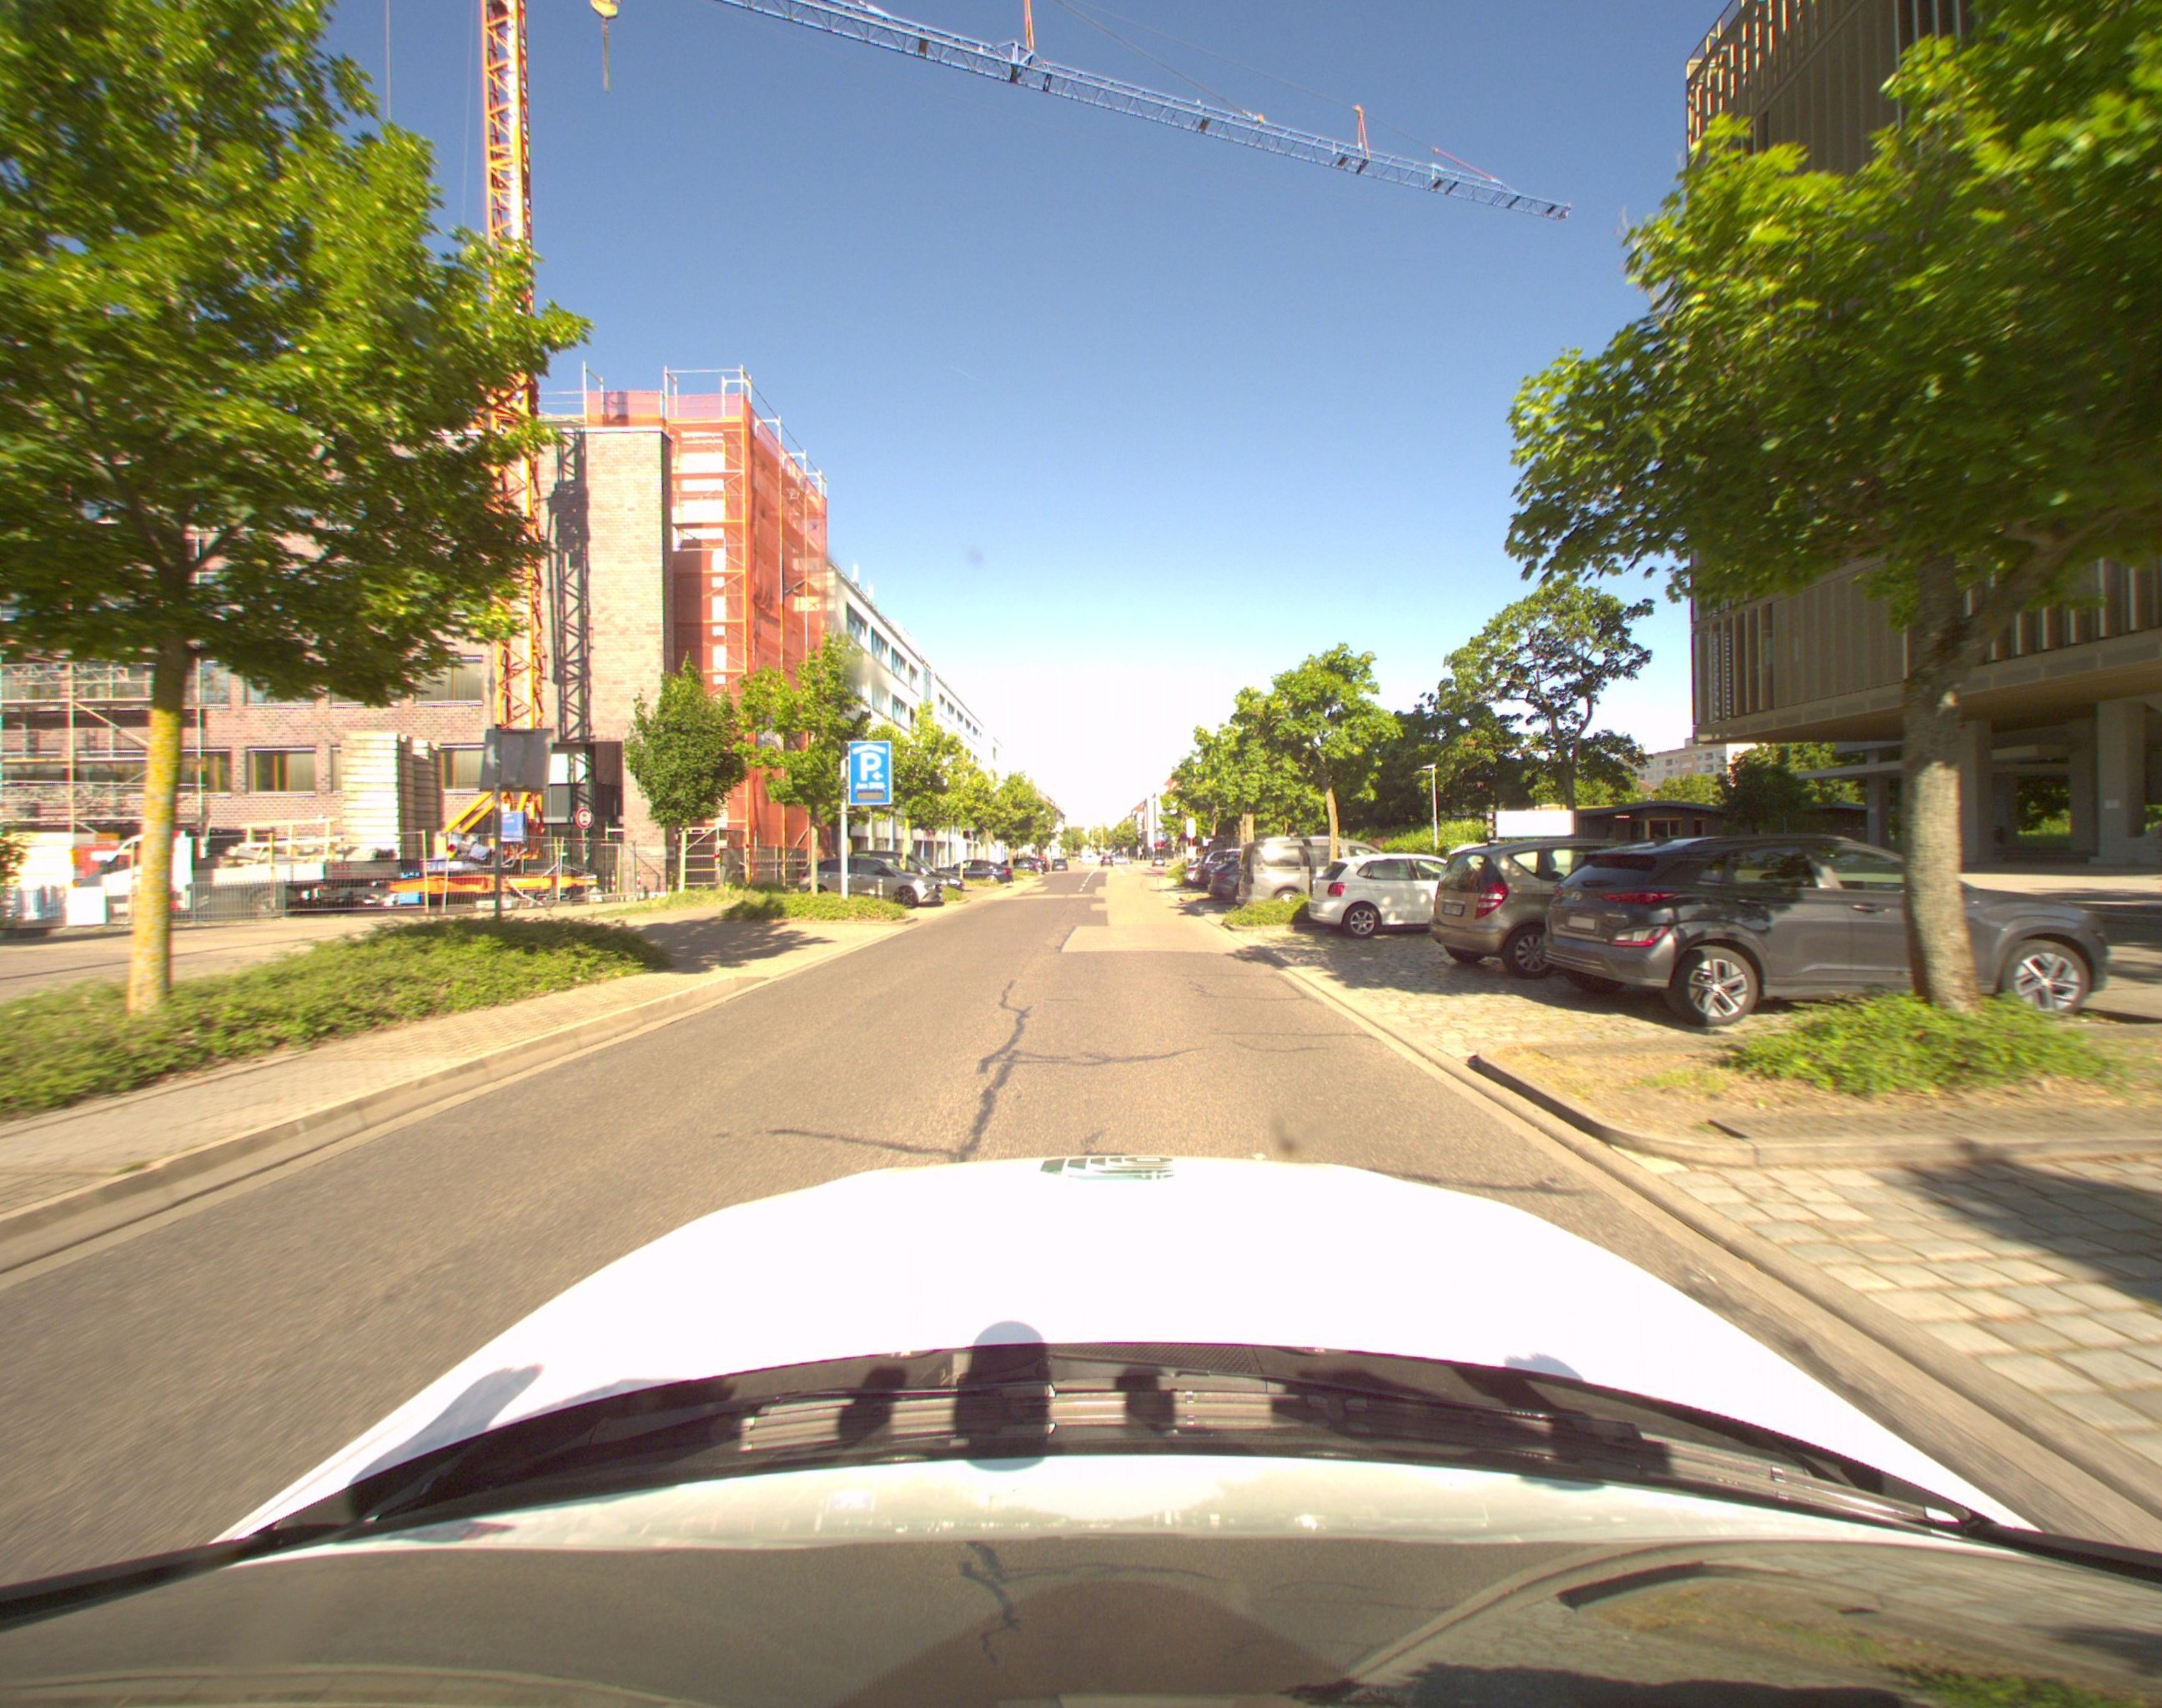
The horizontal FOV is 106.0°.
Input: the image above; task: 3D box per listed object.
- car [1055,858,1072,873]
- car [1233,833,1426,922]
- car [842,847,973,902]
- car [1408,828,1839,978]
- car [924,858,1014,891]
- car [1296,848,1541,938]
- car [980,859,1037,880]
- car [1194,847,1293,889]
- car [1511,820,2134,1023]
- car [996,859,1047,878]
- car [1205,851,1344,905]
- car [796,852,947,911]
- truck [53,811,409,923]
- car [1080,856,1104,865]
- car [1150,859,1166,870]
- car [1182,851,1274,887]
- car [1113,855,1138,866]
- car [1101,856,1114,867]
[{"bbox_3d":[-1.975,1.297,92.523,1.805,1.474,4.111,-1,1,1],"label":"car"},{"bbox_3d":[5.681,0.517,18.970,3.972,1.879,1.683,-1,1,2],"label":"car"},{"bbox_3d":[-6.346,0.719,30.080,4.313,1.861,1.819,-1,1,3],"label":"car"},{"bbox_3d":[6.455,0.557,10.118,3.972,1.582,2.032,-1,-1,2],"label":"car"},{"bbox_3d":[-5.629,1.026,41.378,4.320,1.474,1.816,-1,1,-2],"label":"car"},{"bbox_3d":[6.078,0.681,14.997,3.752,1.459,1.818,-1,0,1],"label":"car"},{"bbox_3d":[-5.767,1.250,65.343,4.316,1.474,1.818,-1,1,1],"label":"car"},{"bbox_3d":[6.749,0.565,34.176,3.894,1.642,1.880,-1,1,5],"label":"car"},{"bbox_3d":[6.440,0.559,7.494,3.972,1.538,1.862,-1,-1,2],"label":"car"},{"bbox_3d":[-5.264,1.296,72.129,4.316,1.474,1.818,-1,1,1],"label":"car"},{"bbox_3d":[5.780,0.700,24.726,3.894,1.474,1.798,-1,1,5],"label":"car"},{"bbox_3d":[-6.471,0.844,25.475,4.247,1.665,1.599,-1,1,0],"label":"car"},{"bbox_3d":[-21.504,0.313,20.820,6.829,2.547,2.282,-1,1,3],"label":"truck"},{"bbox_3d":[1.937,1.098,141.525,4.083,1.474,1.818,-1,1,0],"label":"car"},{"bbox_3d":[11.588,1.599,123.245,1.983,1.474,4.110,-1,1,0],"label":"car"},{"bbox_3d":[6.542,0.693,36.533,3.894,1.475,1.760,-1,-2,5],"label":"car"},{"bbox_3d":[7.452,1.095,137.087,3.978,1.561,1.998,-2,1,-3],"label":"car"},{"bbox_3d":[3.837,1.098,119.465,1.804,1.474,4.113,-1,1,3],"label":"car"}]
